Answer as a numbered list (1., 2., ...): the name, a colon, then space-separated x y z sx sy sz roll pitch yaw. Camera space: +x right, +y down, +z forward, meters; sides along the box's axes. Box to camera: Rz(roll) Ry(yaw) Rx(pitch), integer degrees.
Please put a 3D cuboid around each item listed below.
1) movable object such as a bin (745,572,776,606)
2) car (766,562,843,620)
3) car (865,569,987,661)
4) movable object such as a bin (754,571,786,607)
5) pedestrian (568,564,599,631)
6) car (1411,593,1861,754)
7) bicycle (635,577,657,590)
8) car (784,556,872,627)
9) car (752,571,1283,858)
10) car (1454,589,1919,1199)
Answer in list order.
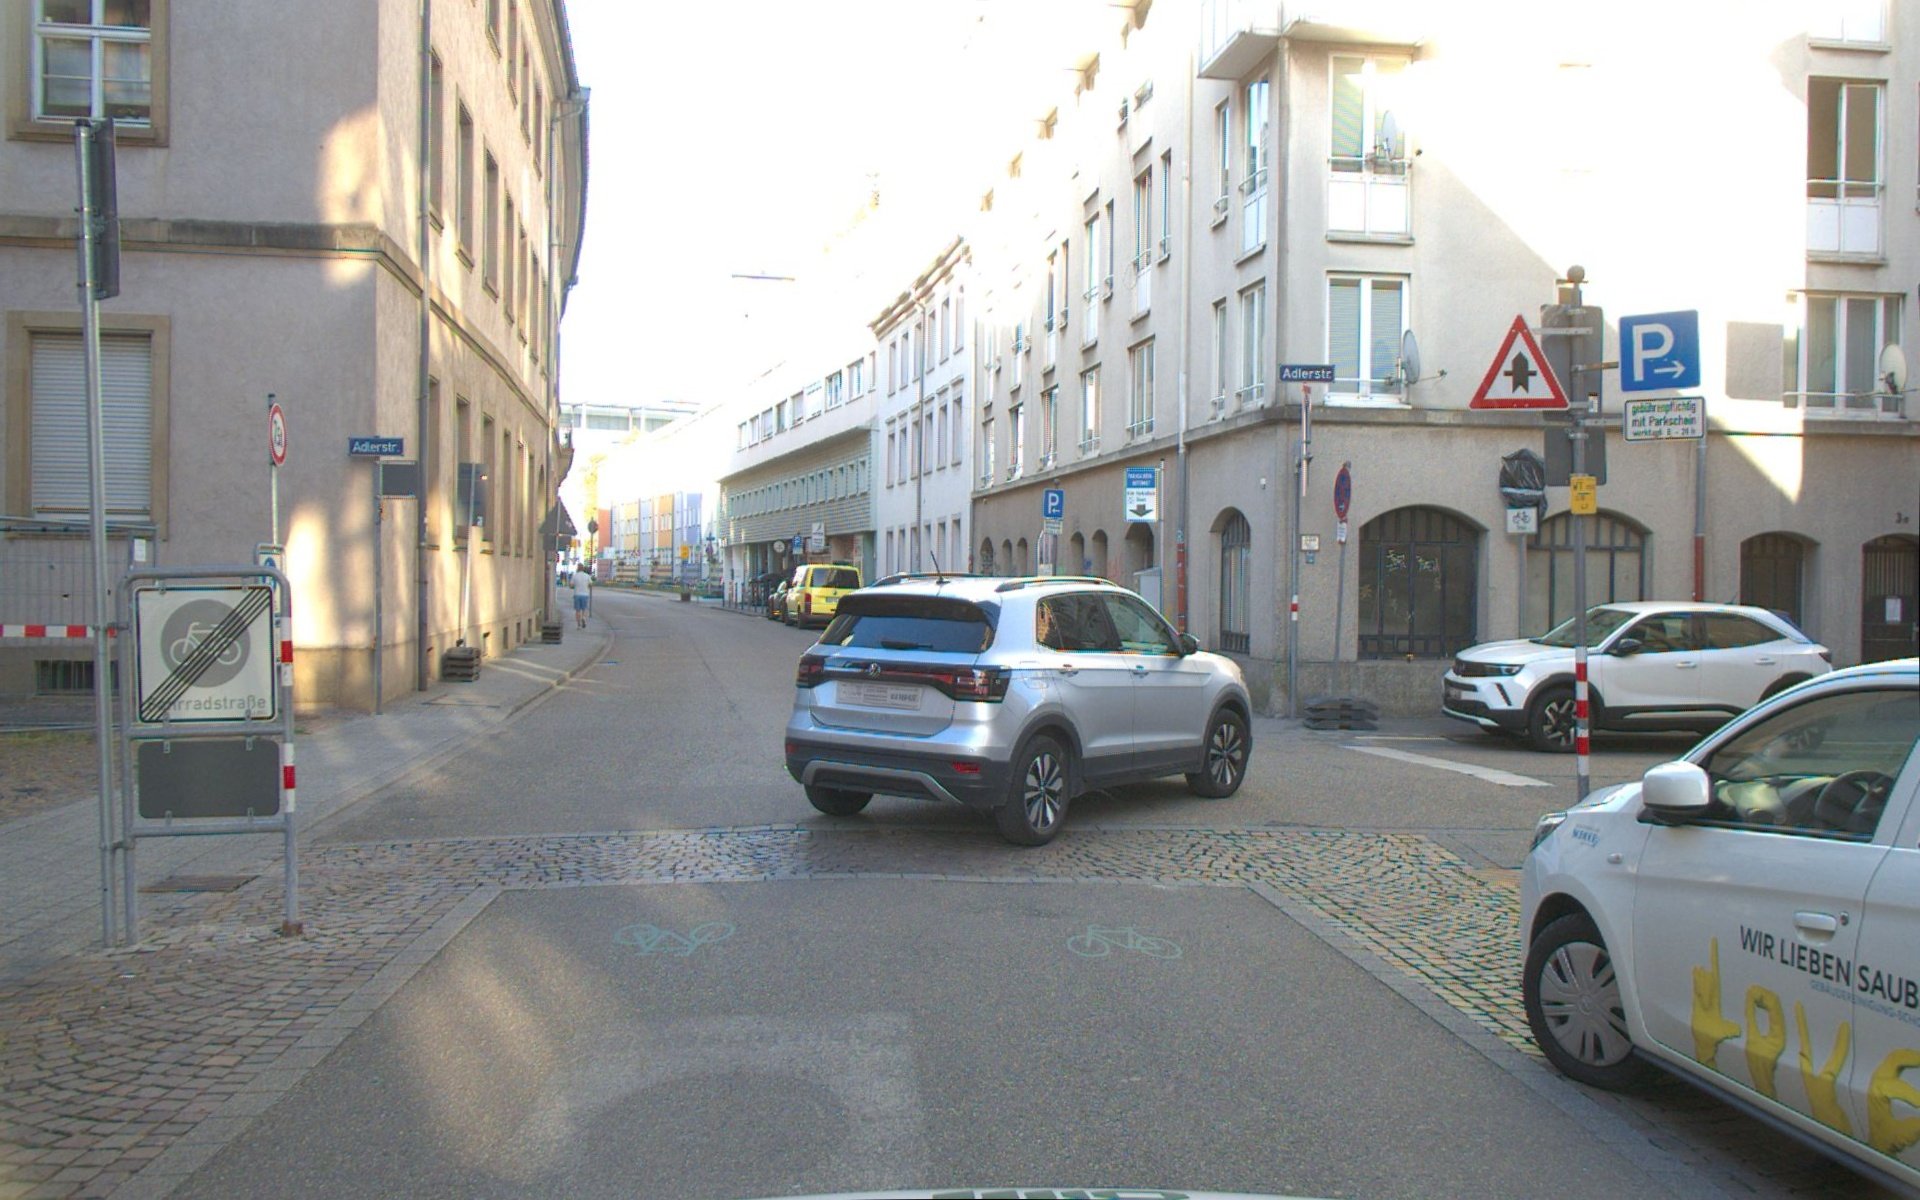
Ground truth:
1. movable object such as a bin: -9.199 -0.516 76.260 1.114 1.505 1.731 0 1 -18
2. car: -5.339 -0.329 56.258 2.018 1.905 4.086 0 1 -14
3. car: -0.769 0.263 34.181 1.932 1.721 4.093 2 1 -9
4. movable object such as a bin: -8.570 -0.509 74.582 1.114 1.585 1.731 0 1 -18
5. pedestrian: -9.966 -0.063 43.730 0.753 1.754 0.684 0 1 -15
6. car: 7.287 0.766 18.095 4.132 1.580 1.901 1 1 -4
7. bicycle: -26.235 -1.394 138.346 1.751 1.018 0.544 1 1 -16
8. car: -4.086 -0.282 50.520 2.018 2.049 4.160 0 1 -14
9. car: 0.577 0.601 11.359 1.805 1.589 3.987 0 1 34
10. car: 3.045 0.779 4.419 1.852 1.544 4.057 1 1 -7
